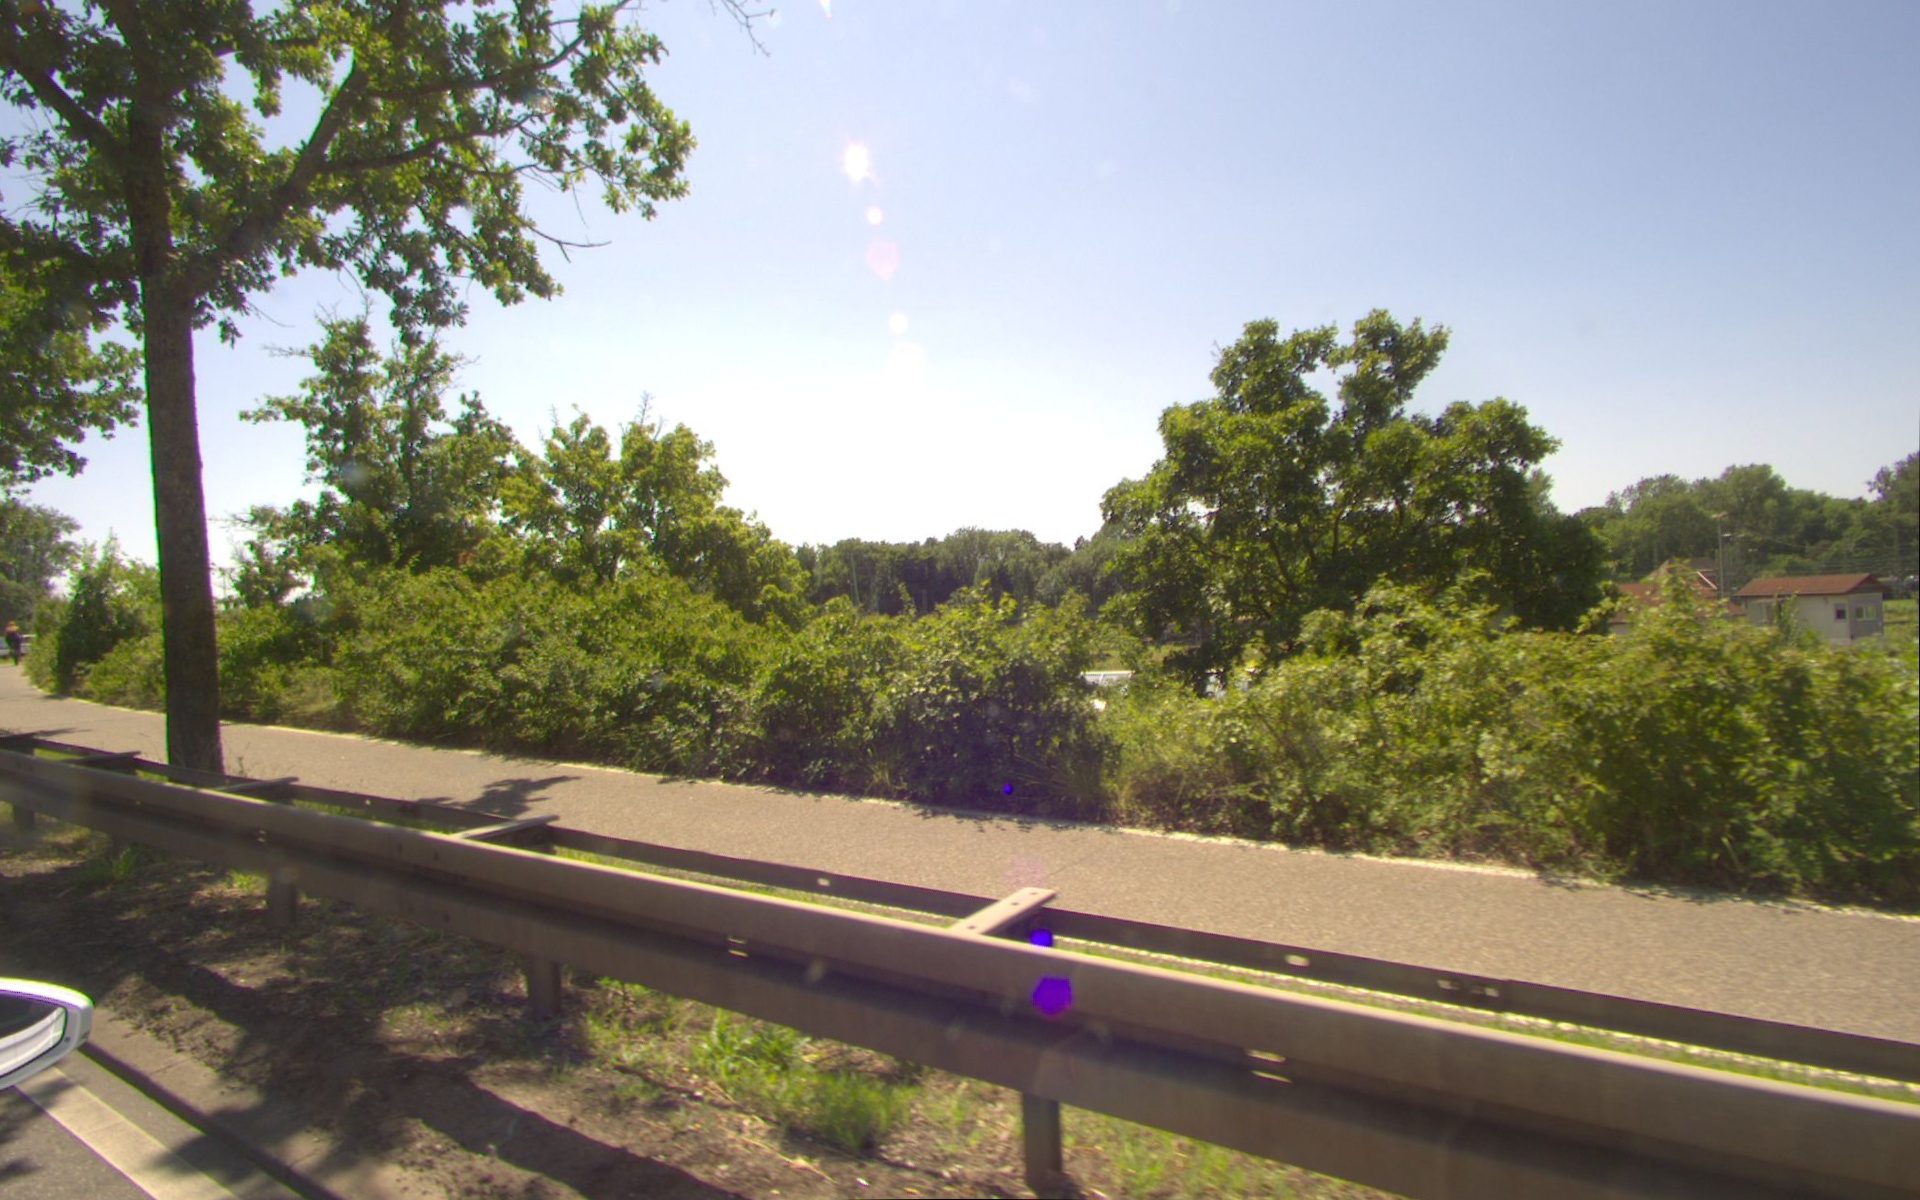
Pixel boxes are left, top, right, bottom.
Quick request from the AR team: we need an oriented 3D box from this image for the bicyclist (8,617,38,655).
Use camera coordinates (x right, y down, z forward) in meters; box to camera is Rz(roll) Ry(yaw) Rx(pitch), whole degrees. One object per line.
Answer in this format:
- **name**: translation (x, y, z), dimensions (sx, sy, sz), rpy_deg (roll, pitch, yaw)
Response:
- **bicyclist**: translation (-38.403, 1.486, 41.043), dimensions (0.970, 1.543, 0.855), rpy_deg (-2, -1, 44)

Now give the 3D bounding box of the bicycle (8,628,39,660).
- **bicycle**: translation (-38.400, 1.799, 41.048), dimensions (2.286, 1.252, 0.855), rpy_deg (-2, -2, 45)

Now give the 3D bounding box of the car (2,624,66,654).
- **car**: translation (-56.941, 2.385, 61.664), dimensions (1.972, 1.790, 4.729), rpy_deg (0, -2, -31)

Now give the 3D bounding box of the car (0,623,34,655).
- **car**: translation (-53.427, 2.165, 55.710), dimensions (1.974, 1.739, 4.839), rpy_deg (0, -2, -33)
